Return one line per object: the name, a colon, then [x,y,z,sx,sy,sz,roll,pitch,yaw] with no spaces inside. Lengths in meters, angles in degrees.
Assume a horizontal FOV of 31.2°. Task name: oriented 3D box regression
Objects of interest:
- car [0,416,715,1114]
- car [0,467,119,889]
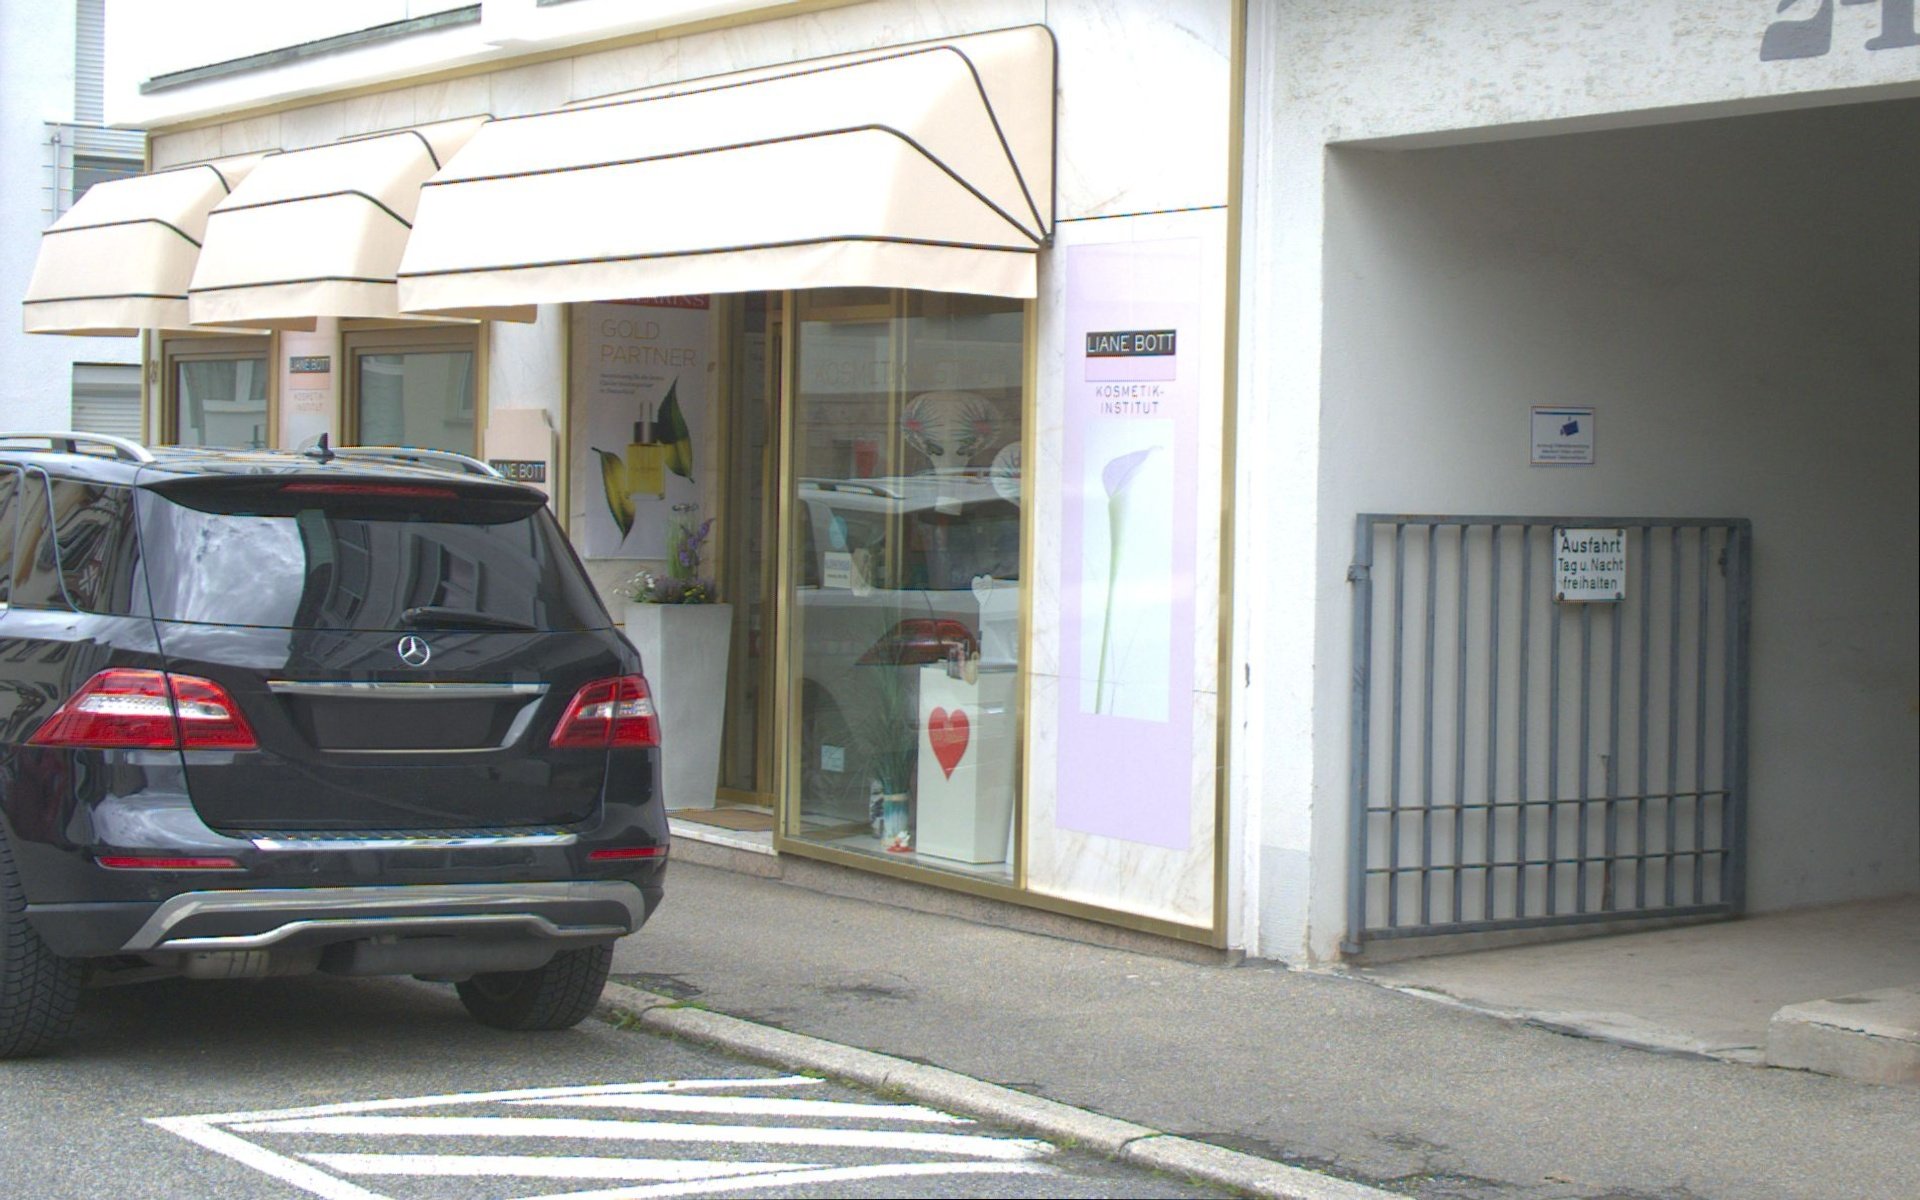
car: [-2.743,0.391,11.089,1.941,1.773,4.368,1,0,-34]
car: [-5.514,0.230,15.402,1.934,1.706,4.376,0,2,-35]
